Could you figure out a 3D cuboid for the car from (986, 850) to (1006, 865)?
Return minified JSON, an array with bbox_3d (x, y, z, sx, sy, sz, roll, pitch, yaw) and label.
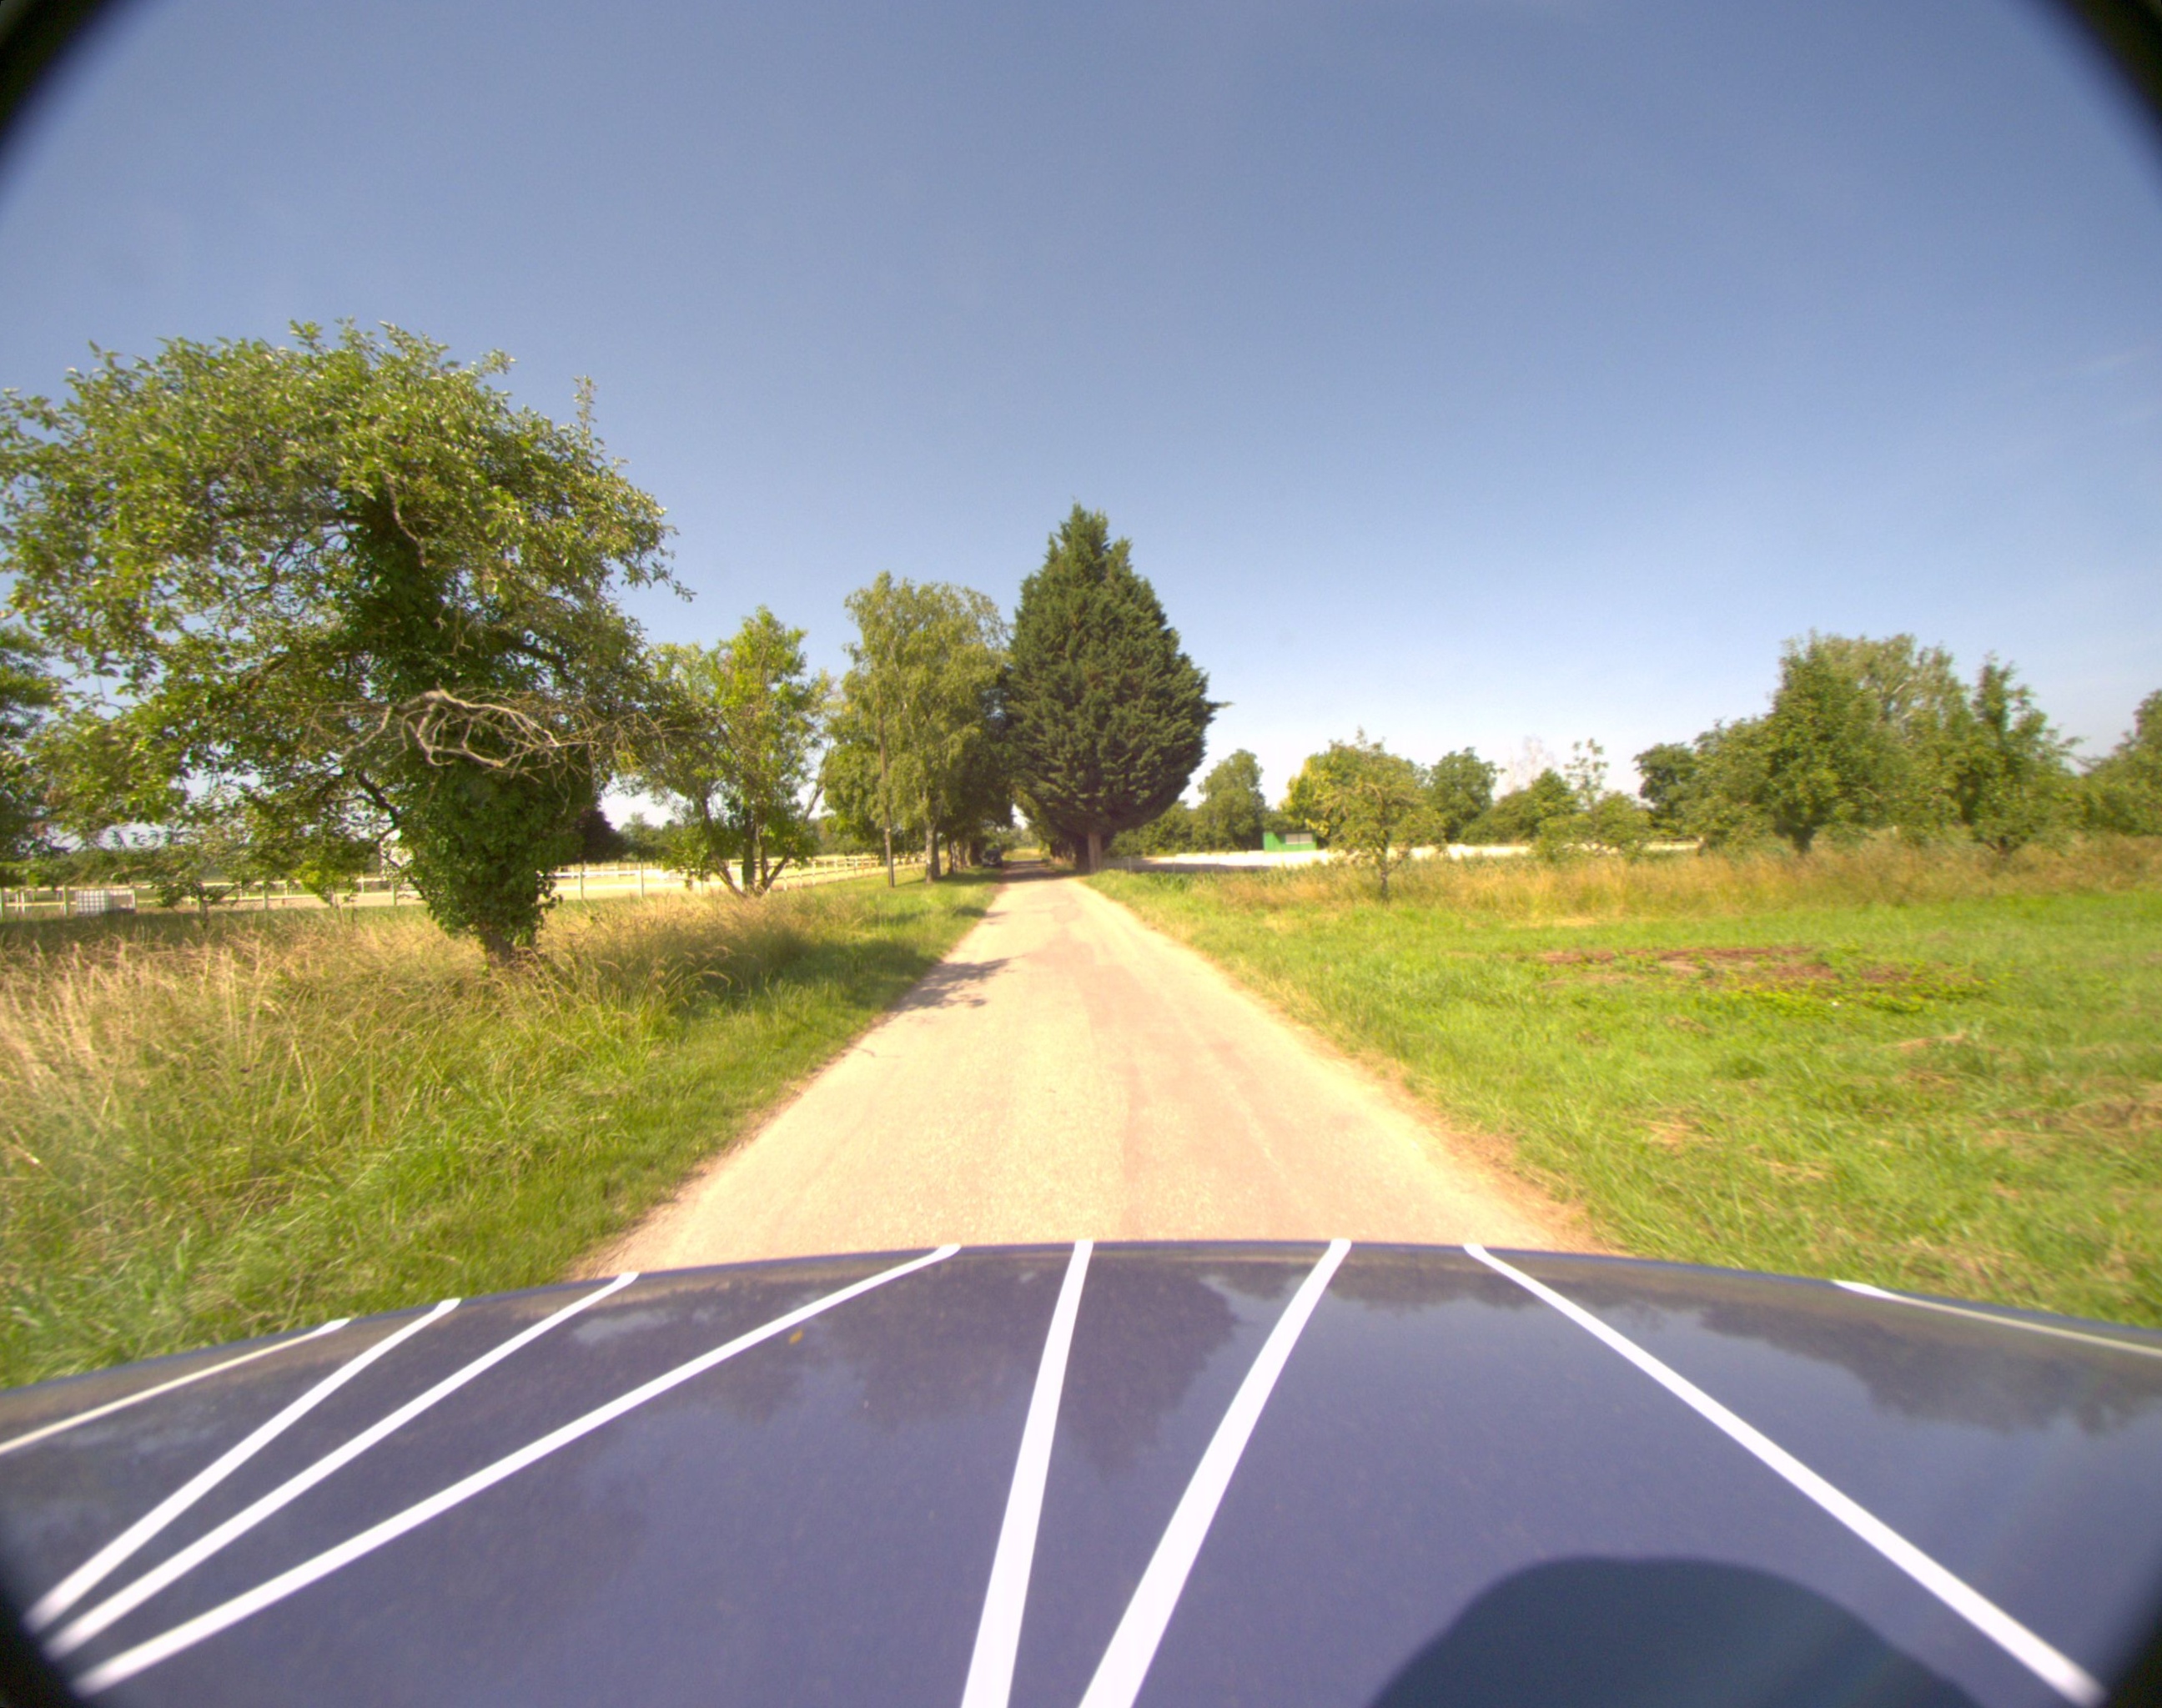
[{"bbox_3d":[-7.960,0.290,71.188,1.722,1.312,3.741,-2,1,-6],"label":"car"}]
